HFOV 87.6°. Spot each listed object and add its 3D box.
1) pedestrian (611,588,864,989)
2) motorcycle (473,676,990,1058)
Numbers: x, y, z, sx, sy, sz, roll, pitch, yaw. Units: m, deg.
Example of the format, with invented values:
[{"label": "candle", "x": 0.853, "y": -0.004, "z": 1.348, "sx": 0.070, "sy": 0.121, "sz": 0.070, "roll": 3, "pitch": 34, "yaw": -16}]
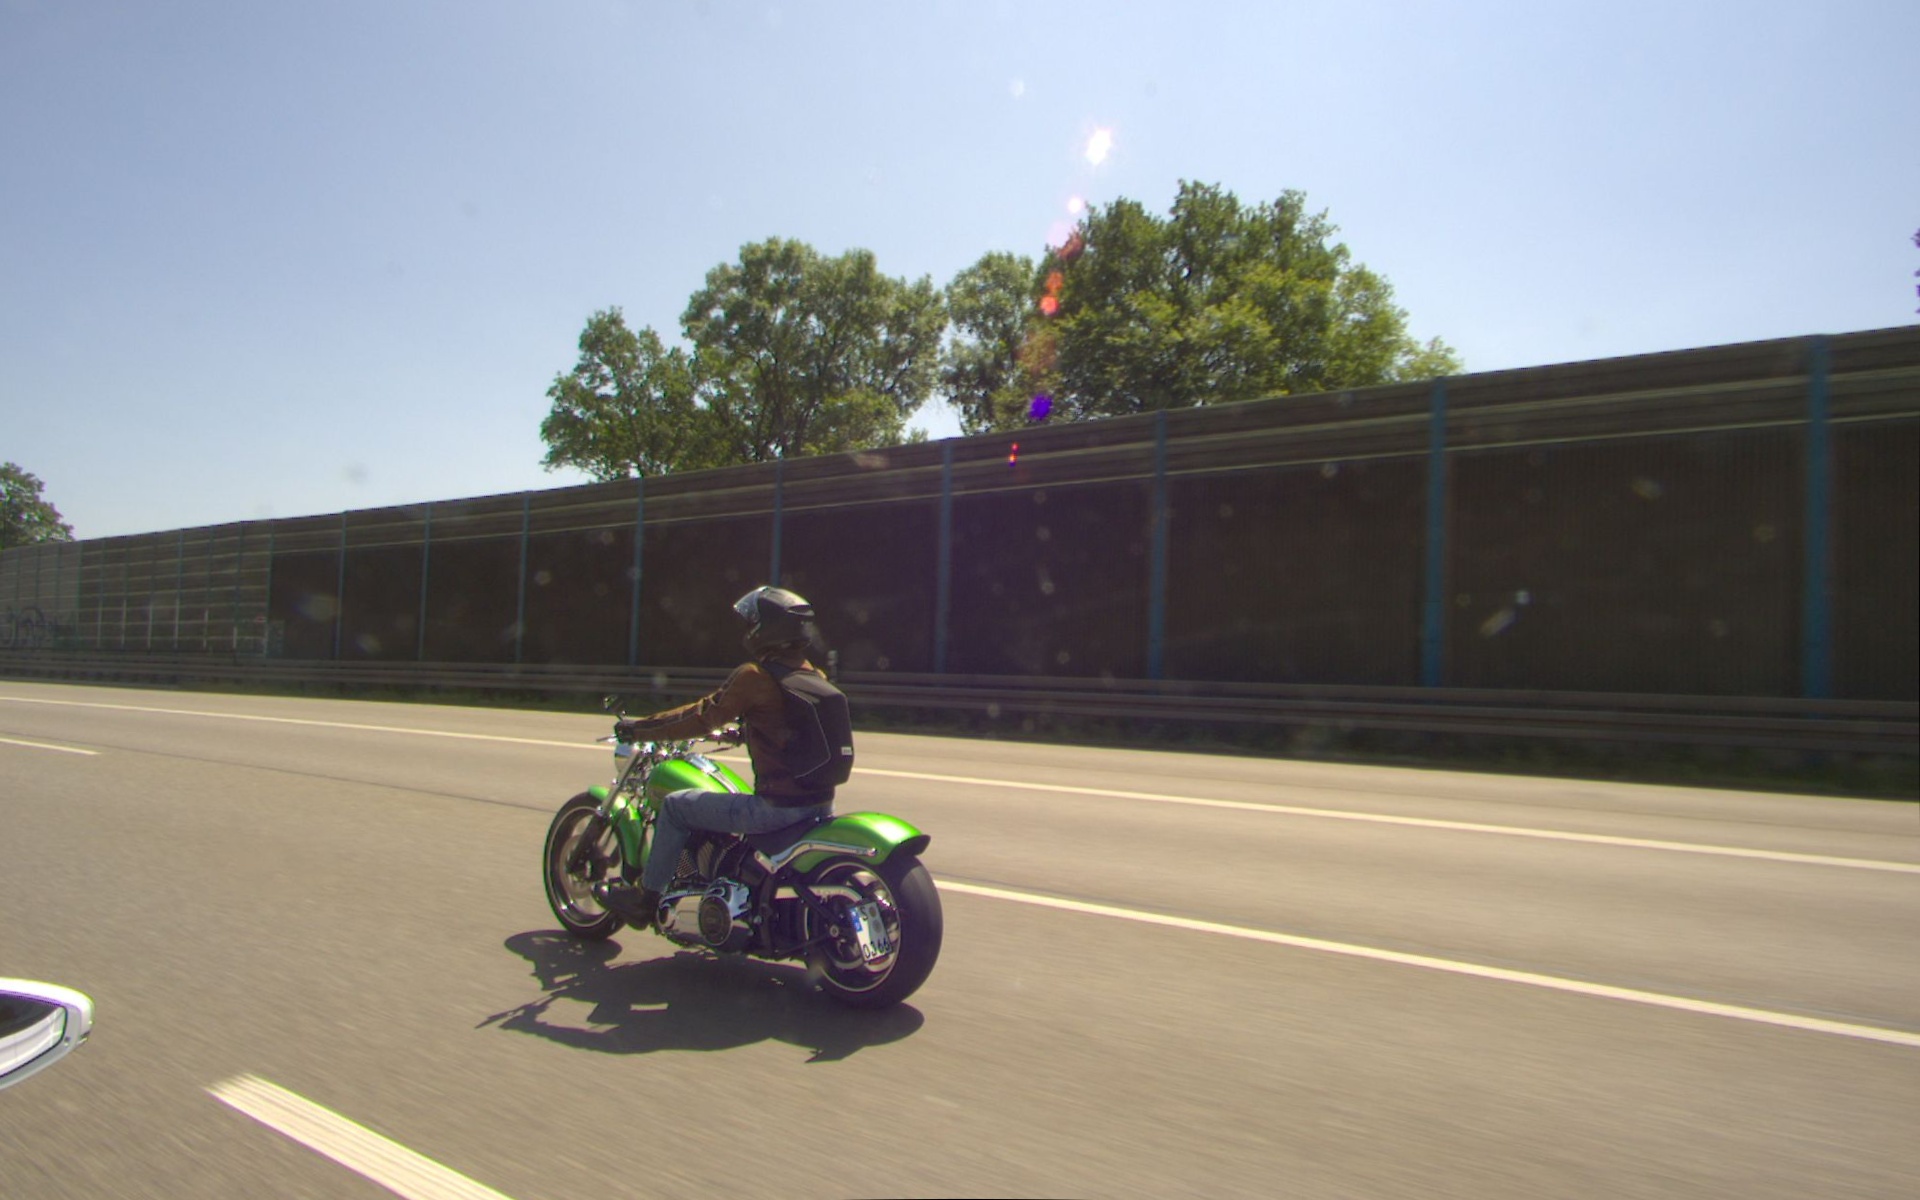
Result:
[{"label": "pedestrian", "x": -0.925, "y": 0.722, "z": 4.284, "sx": 0.629, "sy": 1.497, "sz": 0.850, "roll": 0, "pitch": -2, "yaw": 32}, {"label": "motorcycle", "x": -1.054, "y": 0.977, "z": 4.365, "sx": 2.244, "sy": 1.197, "sz": 0.858, "roll": -1, "pitch": -2, "yaw": 32}]
